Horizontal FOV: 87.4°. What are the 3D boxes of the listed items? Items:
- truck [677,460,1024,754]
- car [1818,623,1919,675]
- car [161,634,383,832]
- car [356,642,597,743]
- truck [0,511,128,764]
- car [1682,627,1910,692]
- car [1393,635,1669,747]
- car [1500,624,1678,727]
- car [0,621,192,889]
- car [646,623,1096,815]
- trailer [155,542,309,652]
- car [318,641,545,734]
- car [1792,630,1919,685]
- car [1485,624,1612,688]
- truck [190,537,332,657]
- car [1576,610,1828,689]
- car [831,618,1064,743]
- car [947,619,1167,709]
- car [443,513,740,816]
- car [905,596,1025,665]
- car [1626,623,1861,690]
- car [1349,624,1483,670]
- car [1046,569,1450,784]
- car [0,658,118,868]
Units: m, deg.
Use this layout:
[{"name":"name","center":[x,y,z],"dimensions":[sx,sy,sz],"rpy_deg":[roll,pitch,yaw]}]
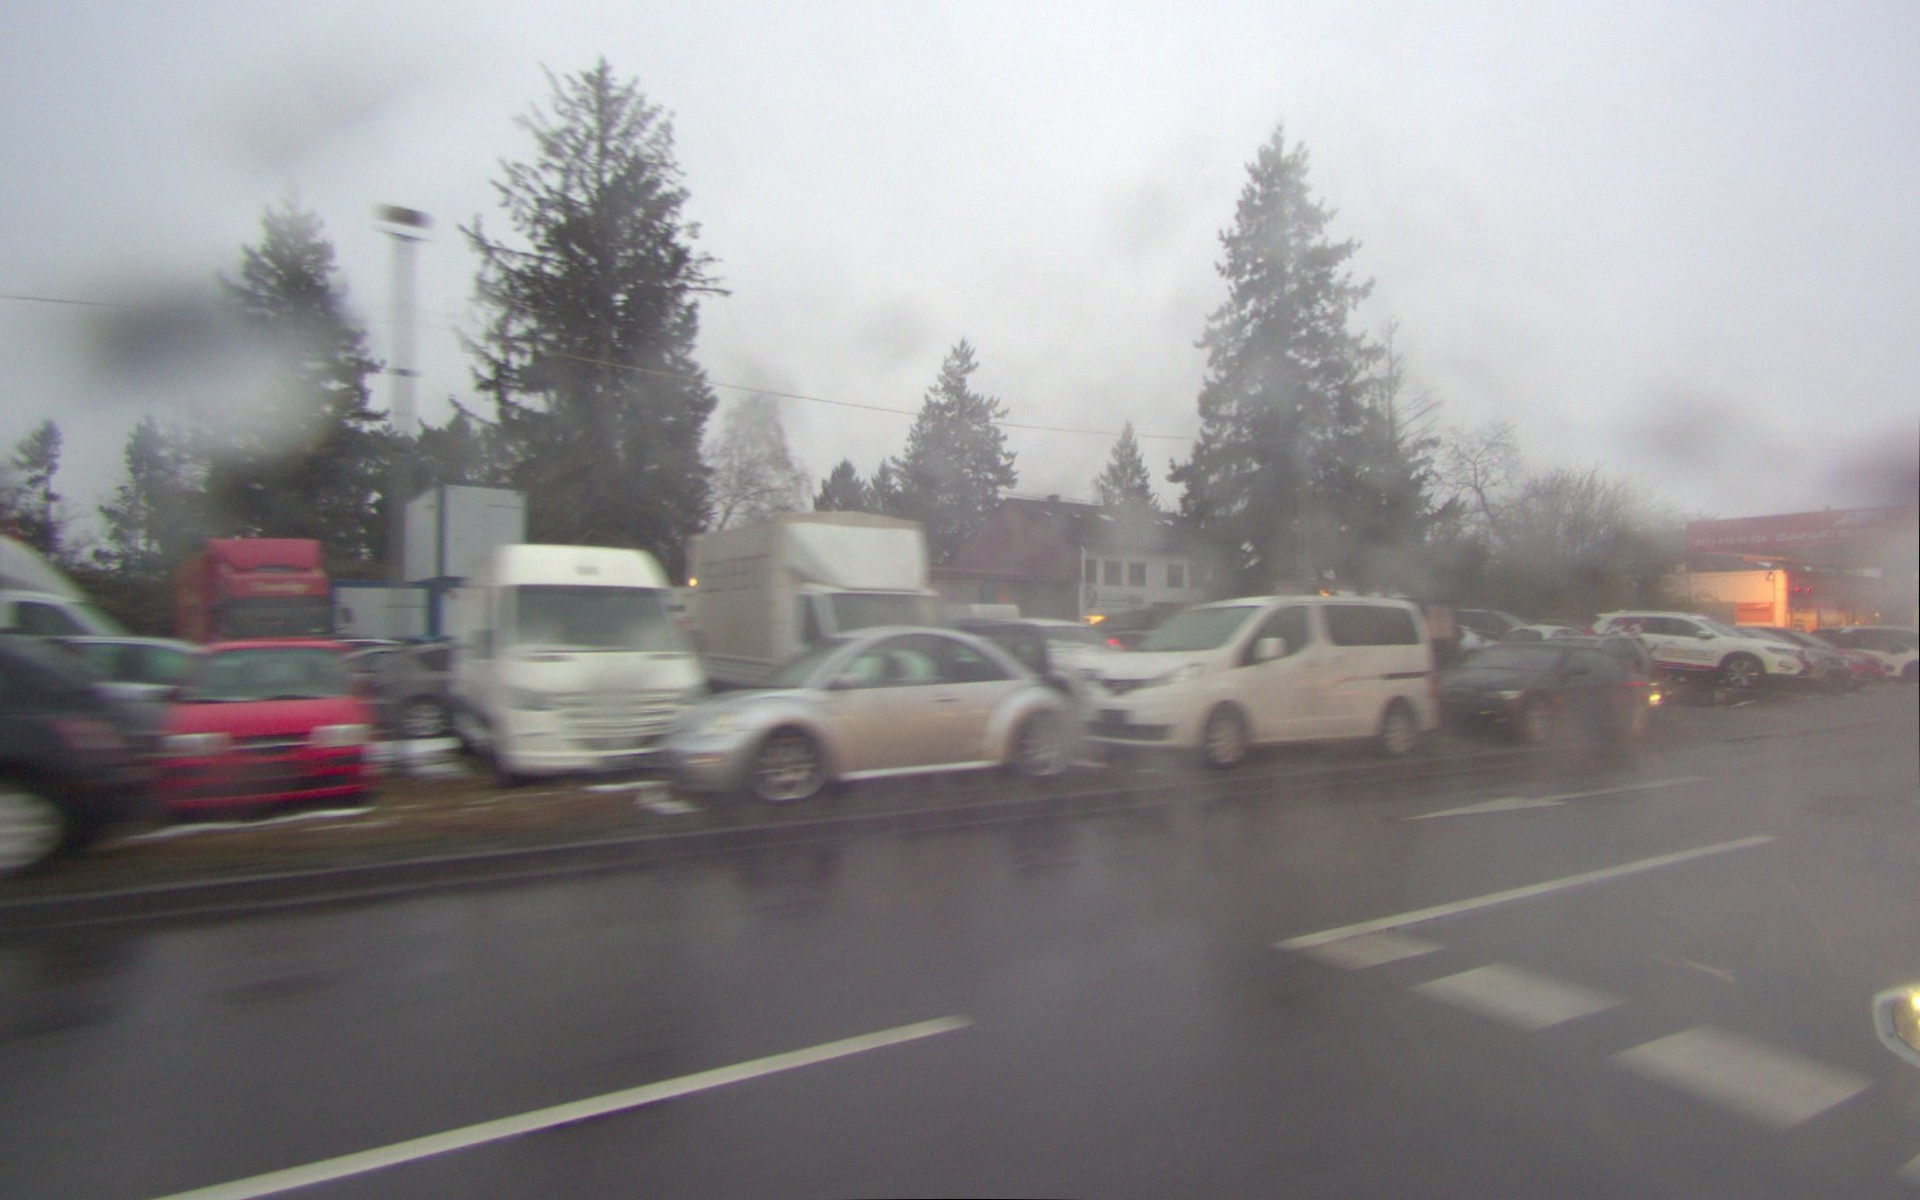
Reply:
[{"name":"truck","center":[-1.966,0.142,14.419],"dimensions":[2.308,3.183,6.824],"rpy_deg":[1,-1,-31]},{"name":"car","center":[31.610,1.617,33.601],"dimensions":[1.917,1.672,4.031],"rpy_deg":[1,-2,-28]},{"name":"car","center":[-6.448,1.090,9.547],"dimensions":[1.483,1.512,3.209],"rpy_deg":[1,-2,-33]},{"name":"car","center":[-7.705,1.398,16.060],"dimensions":[3.308,1.386,1.597],"rpy_deg":[1,-1,-33]},{"name":"truck","center":[-15.258,0.545,13.700],"dimensions":[5.793,3.499,2.018],"rpy_deg":[1,-3,-35]},{"name":"car","center":[21.961,1.495,26.589],"dimensions":[1.804,1.518,4.316],"rpy_deg":[1,-1,-29]},{"name":"car","center":[7.972,1.233,13.907],"dimensions":[4.211,1.338,1.561],"rpy_deg":[3,-4,-33]},{"name":"car","center":[10.886,1.258,17.379],"dimensions":[2.828,1.666,1.169],"rpy_deg":[0,-2,-22]},{"name":"car","center":[-6.697,0.882,5.534],"dimensions":[3.698,1.439,1.643],"rpy_deg":[-1,-1,-30]},{"name":"car","center":[-0.773,0.935,9.194],"dimensions":[3.793,1.431,1.643],"rpy_deg":[1,-2,-29]},{"name":"trailer","center":[-21.368,-0.079,29.159],"dimensions":[2.205,2.709,10.370],"rpy_deg":[1,0,-44]},{"name":"car","center":[-9.237,1.467,17.654],"dimensions":[3.413,1.399,1.603],"rpy_deg":[0,-1,-32]},{"name":"car","center":[27.873,1.723,30.455],"dimensions":[1.757,1.479,3.750],"rpy_deg":[1,0,-32]},{"name":"car","center":[16.675,1.530,28.426],"dimensions":[3.666,1.699,1.660],"rpy_deg":[1,-1,-33]},{"name":"truck","center":[-17.698,-0.062,25.333],"dimensions":[2.219,2.732,4.663],"rpy_deg":[1,0,-44]},{"name":"car","center":[17.698,1.103,24.164],"dimensions":[1.990,1.699,4.506],"rpy_deg":[1,-1,-34]},{"name":"car","center":[-0.341,1.196,16.550],"dimensions":[2.004,1.756,4.025],"rpy_deg":[1,-1,-33]},{"name":"car","center":[1.608,1.046,17.893],"dimensions":[1.795,1.396,4.025],"rpy_deg":[1,-1,-33]},{"name":"car","center":[-4.690,0.652,12.016],"dimensions":[2.172,2.673,5.999],"rpy_deg":[1,-2,-32]},{"name":"car","center":[0.117,1.056,36.124],"dimensions":[2.246,2.311,4.200],"rpy_deg":[1,-1,-37]},{"name":"car","center":[19.743,1.357,25.532],"dimensions":[1.969,1.518,4.320],"rpy_deg":[1,-1,-27]},{"name":"car","center":[14.536,1.490,32.157],"dimensions":[3.550,1.402,1.675],"rpy_deg":[1,-1,3]},{"name":"car","center":[3.328,0.780,11.403],"dimensions":[4.429,2.040,1.827],"rpy_deg":[1,-1,-29]},{"name":"car","center":[-7.985,1.207,8.103],"dimensions":[1.465,1.346,3.282],"rpy_deg":[1,-1,-34]}]
